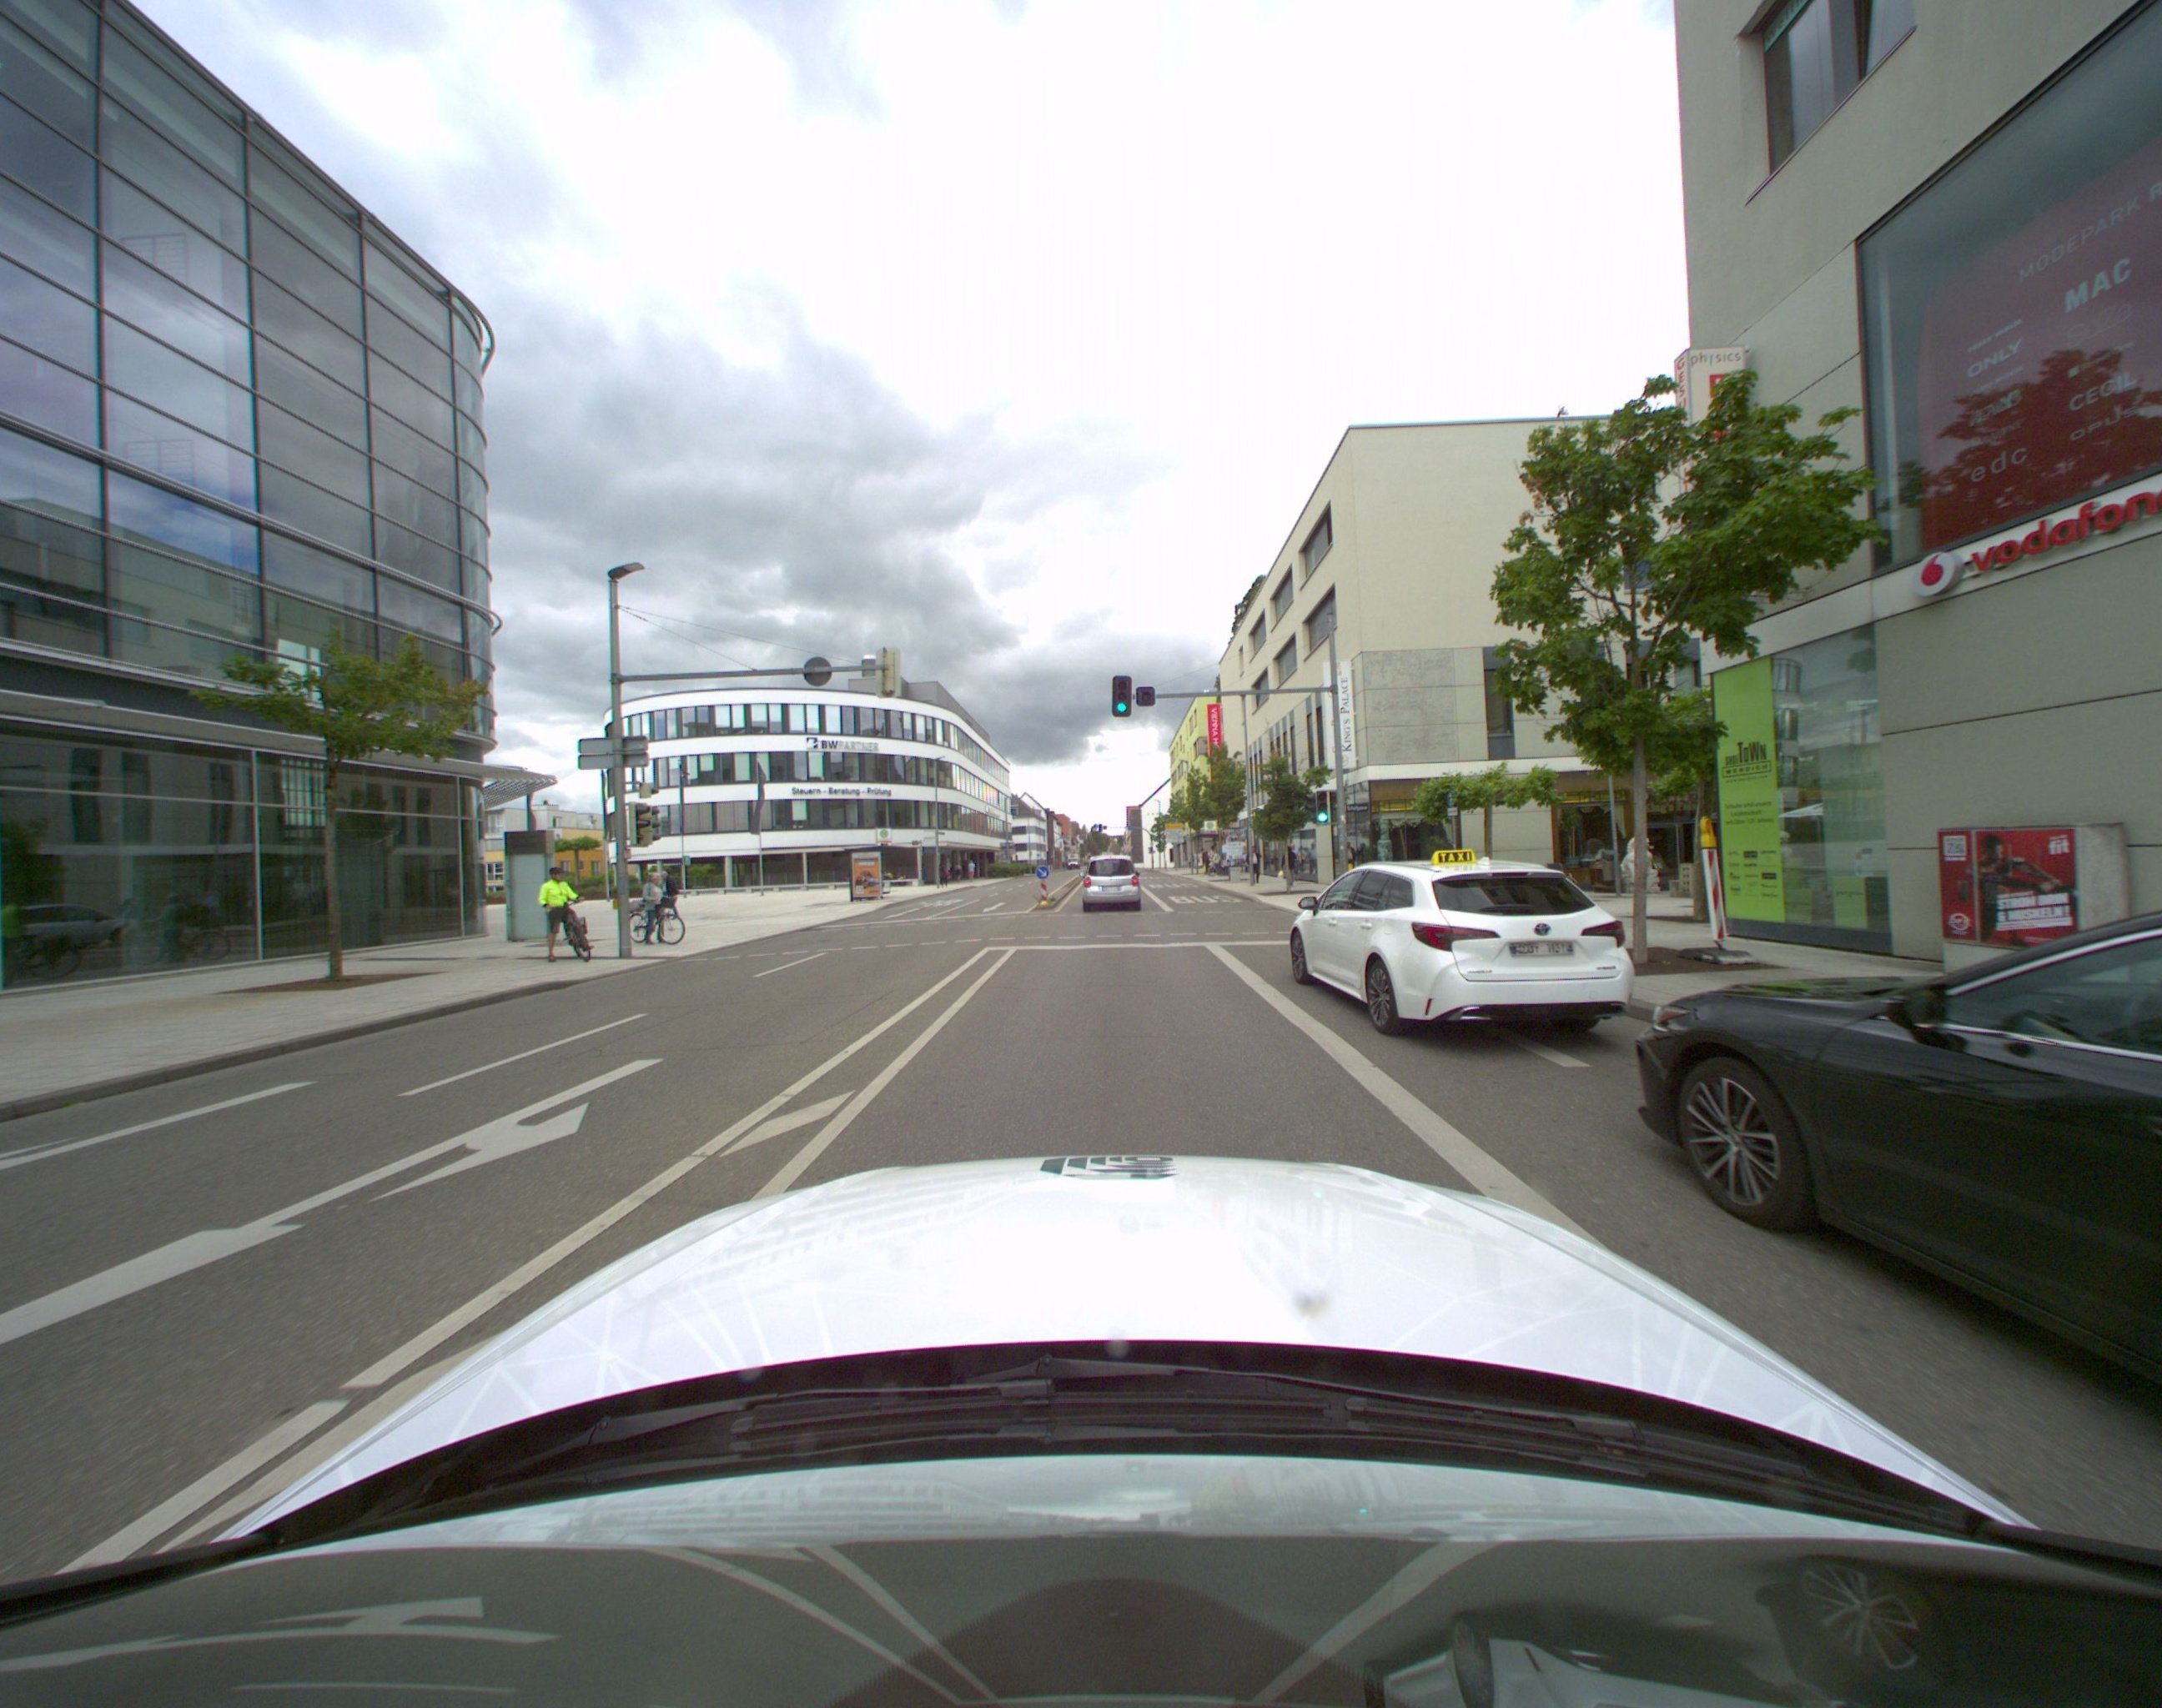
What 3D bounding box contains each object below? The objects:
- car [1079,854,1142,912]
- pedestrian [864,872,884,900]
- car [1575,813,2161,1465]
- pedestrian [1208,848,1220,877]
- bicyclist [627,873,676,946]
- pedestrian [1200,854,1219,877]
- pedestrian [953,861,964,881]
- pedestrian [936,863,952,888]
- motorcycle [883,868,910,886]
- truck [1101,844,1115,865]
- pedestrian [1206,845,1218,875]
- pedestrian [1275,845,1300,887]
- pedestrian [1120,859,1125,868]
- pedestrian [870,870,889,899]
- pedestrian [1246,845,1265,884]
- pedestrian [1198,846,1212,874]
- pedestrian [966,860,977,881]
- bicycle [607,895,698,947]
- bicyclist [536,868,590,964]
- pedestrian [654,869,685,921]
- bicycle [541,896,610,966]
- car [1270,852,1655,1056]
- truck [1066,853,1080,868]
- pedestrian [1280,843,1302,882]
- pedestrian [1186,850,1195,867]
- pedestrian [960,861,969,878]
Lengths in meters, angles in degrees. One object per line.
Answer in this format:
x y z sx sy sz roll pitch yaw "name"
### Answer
0.879 0.808 24.411 1.700 1.579 4.001 -1 0 2 "car"
-9.626 1.494 37.915 0.682 1.253 0.576 -3 -1 0 "pedestrian"
3.409 0.661 1.880 1.730 1.542 4.792 -1 0 2 "car"
7.667 0.493 46.925 0.576 1.590 0.734 -4 -1 7 "pedestrian"
-9.997 1.280 18.973 0.775 1.649 0.641 0 0 17 "bicyclist"
7.581 0.672 48.096 0.940 1.259 0.732 -4 -1 -1 "pedestrian"
-10.198 1.391 67.768 0.727 1.613 0.932 -1 -1 4 "pedestrian"
-9.129 1.426 54.132 0.825 1.567 0.814 -1 -1 7 "pedestrian"
-13.468 1.674 59.457 1.845 1.333 0.637 -1 -1 5 "motorcycle"
5.227 0.189 156.858 2.585 3.857 6.852 -2 0 2 "truck"
7.886 0.380 49.143 0.576 1.769 0.858 -4 -1 7 "pedestrian"
8.133 0.456 32.065 0.737 1.608 0.715 -3 0 2 "pedestrian"
8.058 1.832 159.749 0.804 1.787 0.861 -5 -1 2 "pedestrian"
-9.687 1.469 39.230 0.682 1.320 0.576 -4 -1 0 "pedestrian"
7.750 0.464 36.269 0.652 1.669 0.614 -3 0 2 "pedestrian"
7.696 0.396 50.629 0.717 1.683 0.734 -4 -1 7 "pedestrian"
-8.984 1.334 66.885 0.727 1.674 0.932 -1 -1 4 "pedestrian"
-9.969 1.536 18.943 1.984 1.130 0.641 0 0 17 "bicycle"
-10.155 1.176 15.955 0.752 1.800 0.764 0 -1 -44 "bicyclist"
-15.665 1.542 31.024 0.907 1.945 0.742 -1 -1 -37 "pedestrian"
-10.012 1.487 16.092 0.752 1.206 2.006 0 0 -44 "bicycle"
3.282 0.736 8.152 1.776 1.425 4.515 -2 0 1 "car"
-1.523 1.279 160.682 2.426 2.953 8.367 -2 0 2 "truck"
9.317 0.386 36.097 0.741 1.669 0.614 -3 0 2 "pedestrian"
10.587 0.413 78.447 0.693 1.593 0.603 -4 -1 1 "pedestrian"
-11.726 1.559 82.040 0.500 1.730 0.619 -3 -1 33 "pedestrian"
